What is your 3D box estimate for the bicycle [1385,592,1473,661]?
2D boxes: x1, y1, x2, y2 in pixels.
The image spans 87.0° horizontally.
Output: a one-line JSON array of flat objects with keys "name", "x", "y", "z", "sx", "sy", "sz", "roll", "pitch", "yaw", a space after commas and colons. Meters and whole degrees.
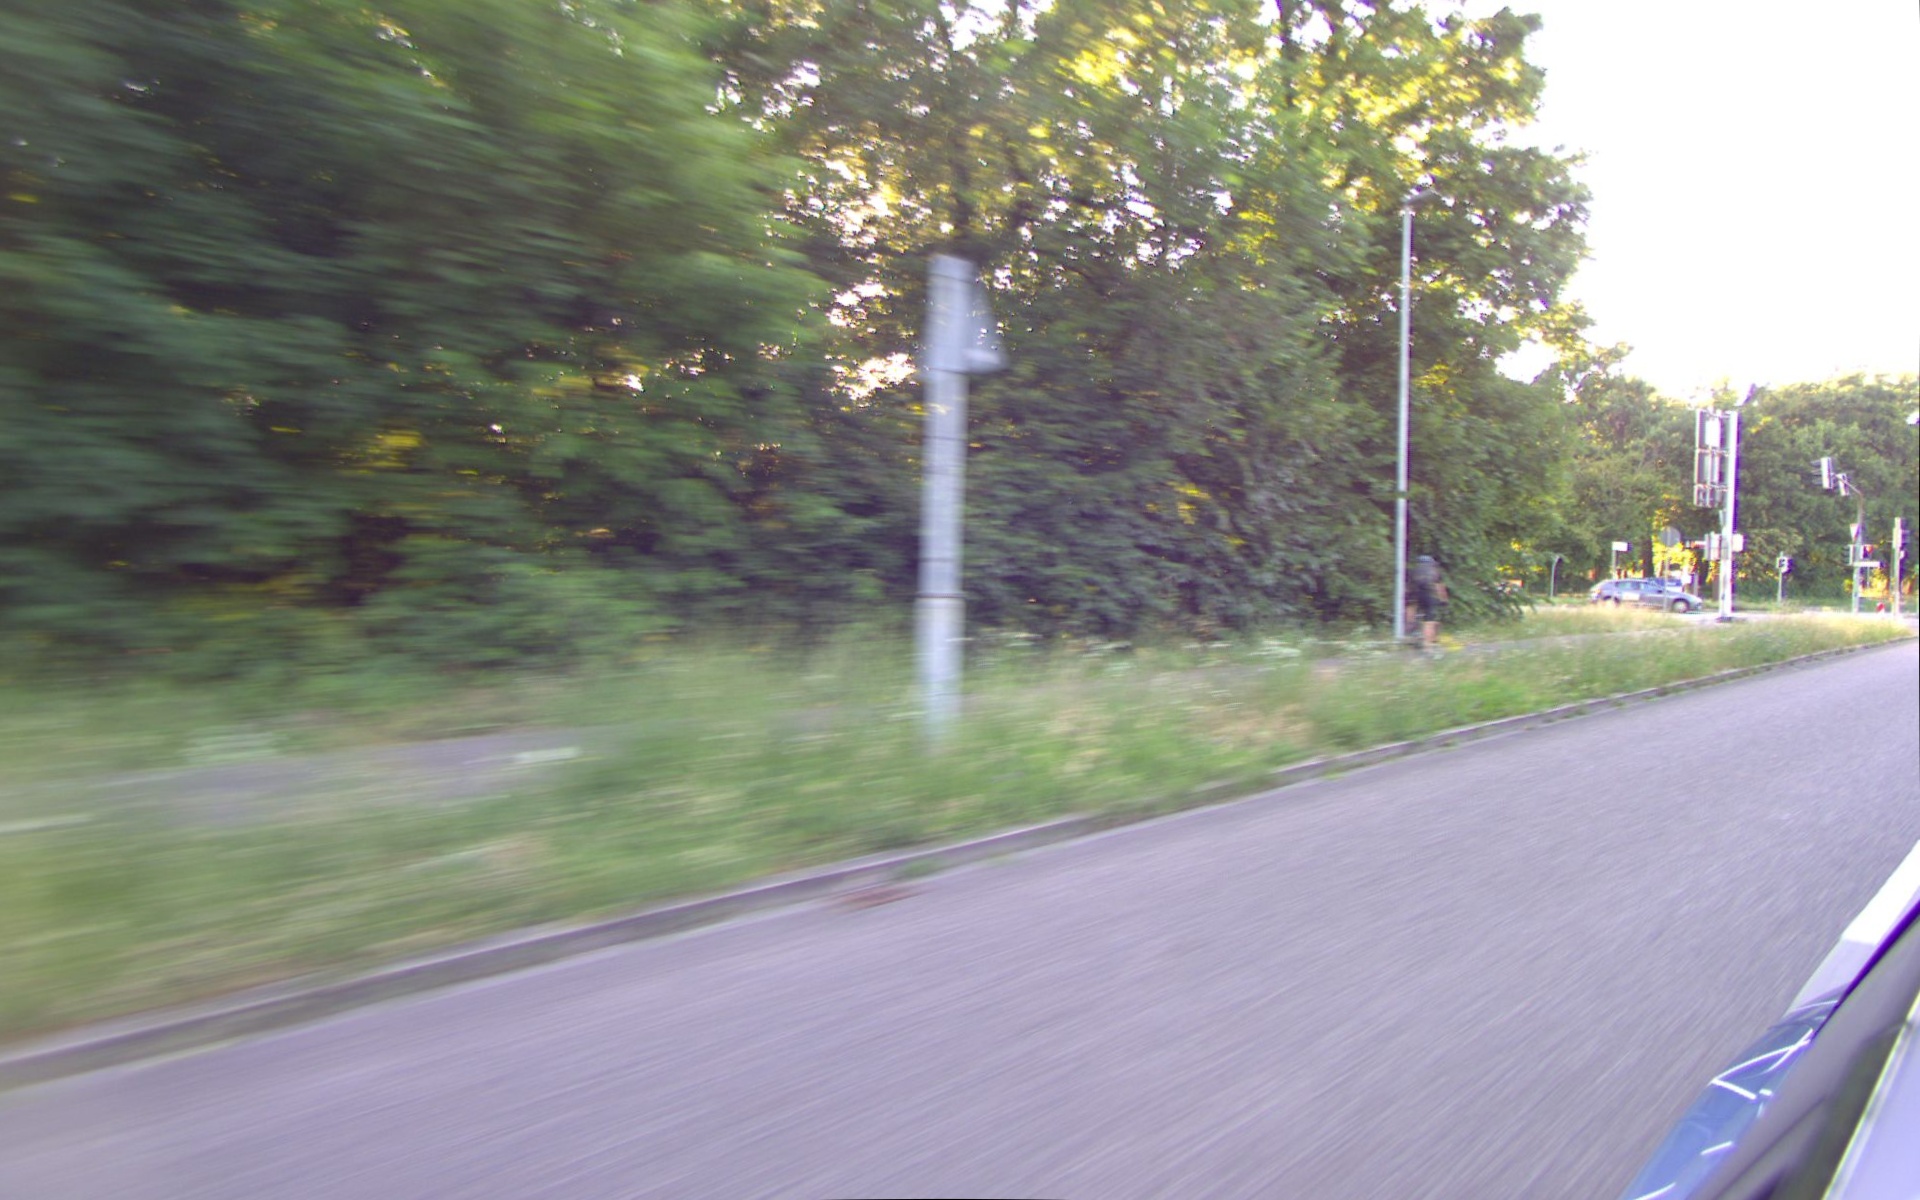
[{"name": "bicycle", "x": 7.584, "y": 0.400, "z": 16.350, "sx": 1.661, "sy": 1.007, "sz": 0.612, "roll": -2, "pitch": 3, "yaw": -39}]

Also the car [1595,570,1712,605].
[{"name": "car", "x": 30.944, "y": -0.585, "z": 45.293, "sx": 4.037, "sy": 1.422, "sz": 1.855, "roll": 2, "pitch": 4, "yaw": 28}]

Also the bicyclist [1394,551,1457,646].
[{"name": "bicyclist", "x": 7.419, "y": -0.042, "z": 16.121, "sx": 0.766, "sy": 1.473, "sz": 0.604, "roll": -1, "pitch": 2, "yaw": -39}]
